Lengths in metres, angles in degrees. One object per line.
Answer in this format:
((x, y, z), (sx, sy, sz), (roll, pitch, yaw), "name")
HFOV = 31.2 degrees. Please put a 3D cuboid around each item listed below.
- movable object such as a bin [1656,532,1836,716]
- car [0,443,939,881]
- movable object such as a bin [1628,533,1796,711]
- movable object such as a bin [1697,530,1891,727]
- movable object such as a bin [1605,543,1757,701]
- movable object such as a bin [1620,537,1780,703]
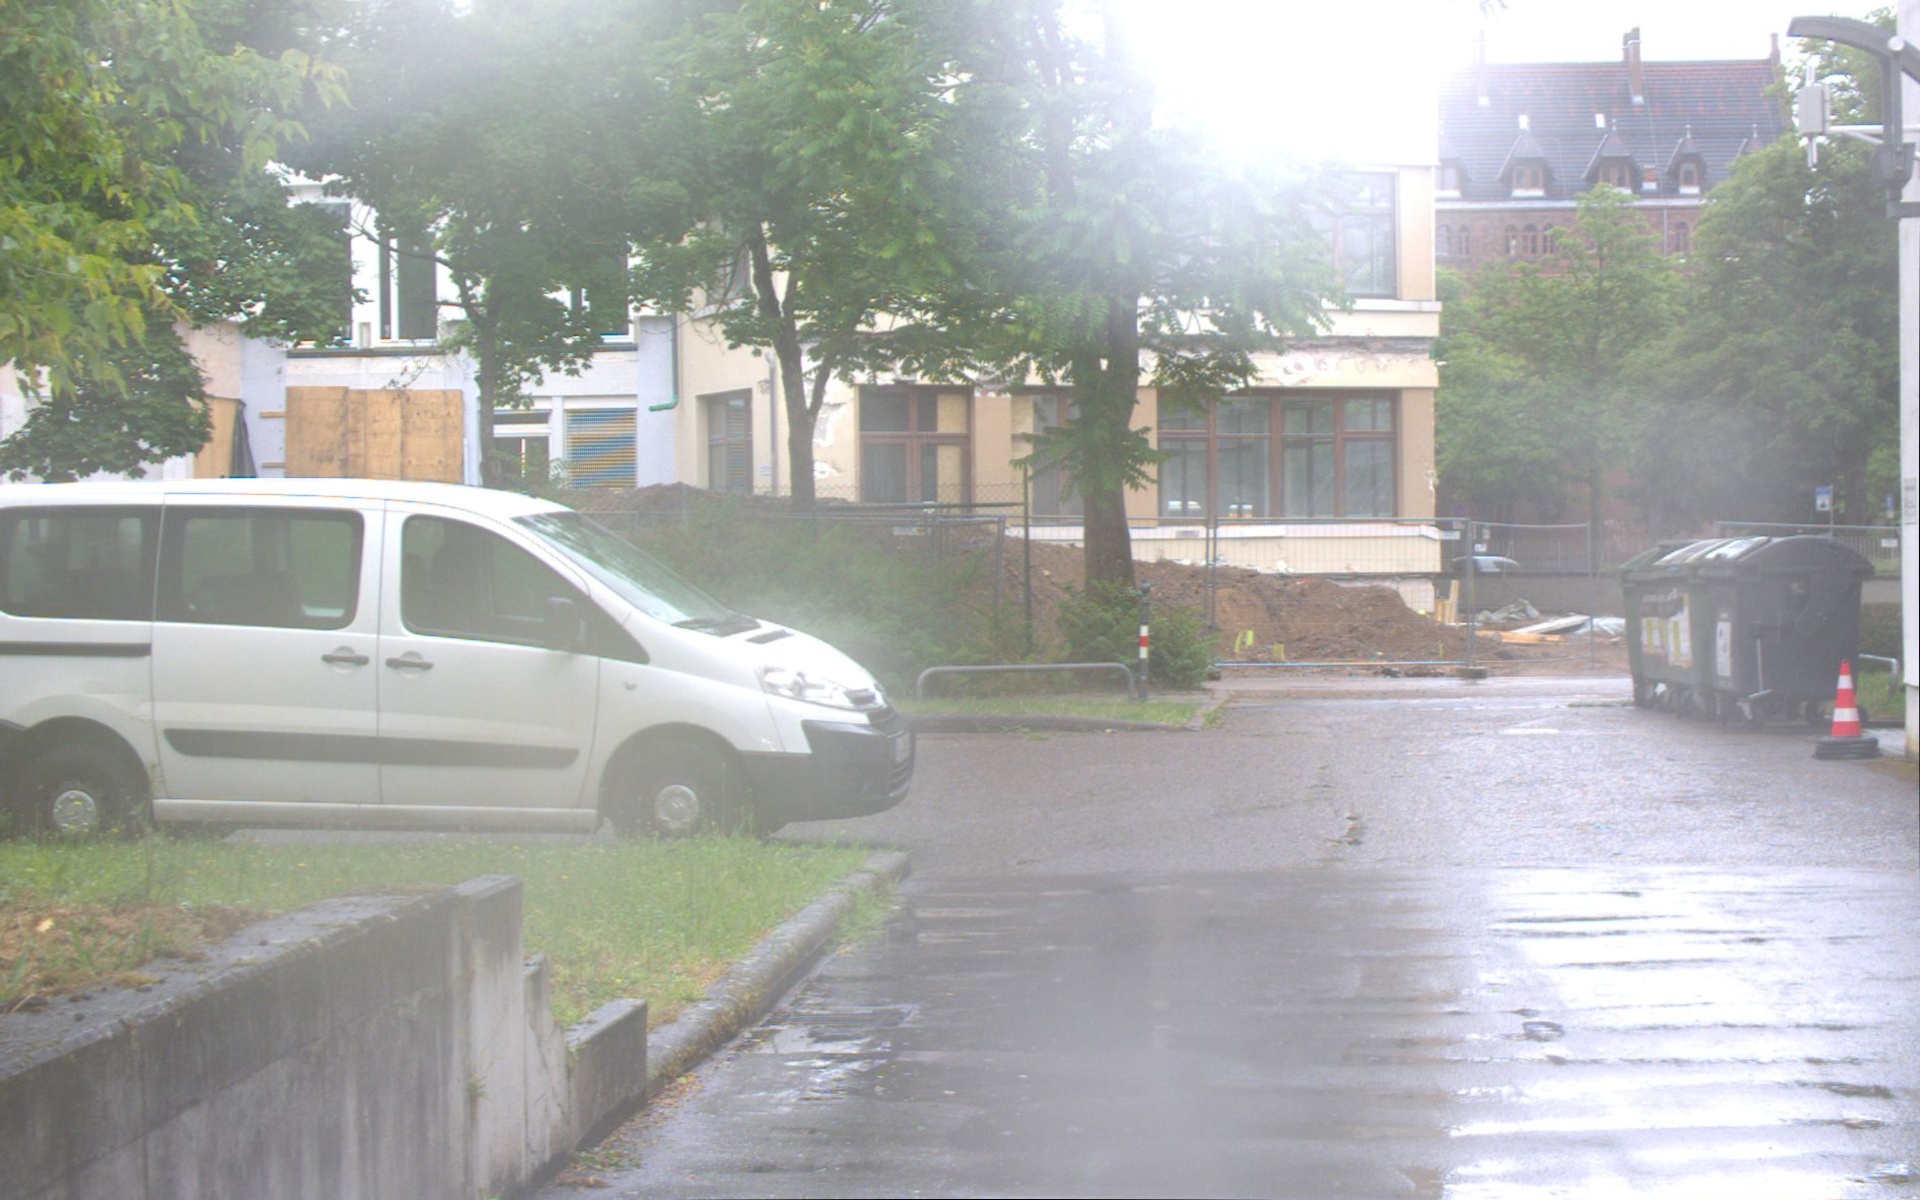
((6.240, 0.201, 27.389), (1.215, 1.432, 1.294), (0, -1, 5), "movable object such as a bin")
((-2.630, 0.289, 17.296), (4.781, 2.007, 2.000), (-1, 1, 7), "car")
((6.320, 0.192, 28.982), (1.215, 1.463, 1.235), (0, -1, 4), "movable object such as a bin")
((6.207, 0.217, 25.653), (1.215, 1.432, 1.235), (0, -1, 4), "movable object such as a bin")
((6.637, 0.212, 31.722), (1.215, 1.432, 1.259), (0, -1, 5), "movable object such as a bin")
((6.517, 0.184, 30.348), (1.215, 1.432, 1.259), (0, -1, 5), "movable object such as a bin")
